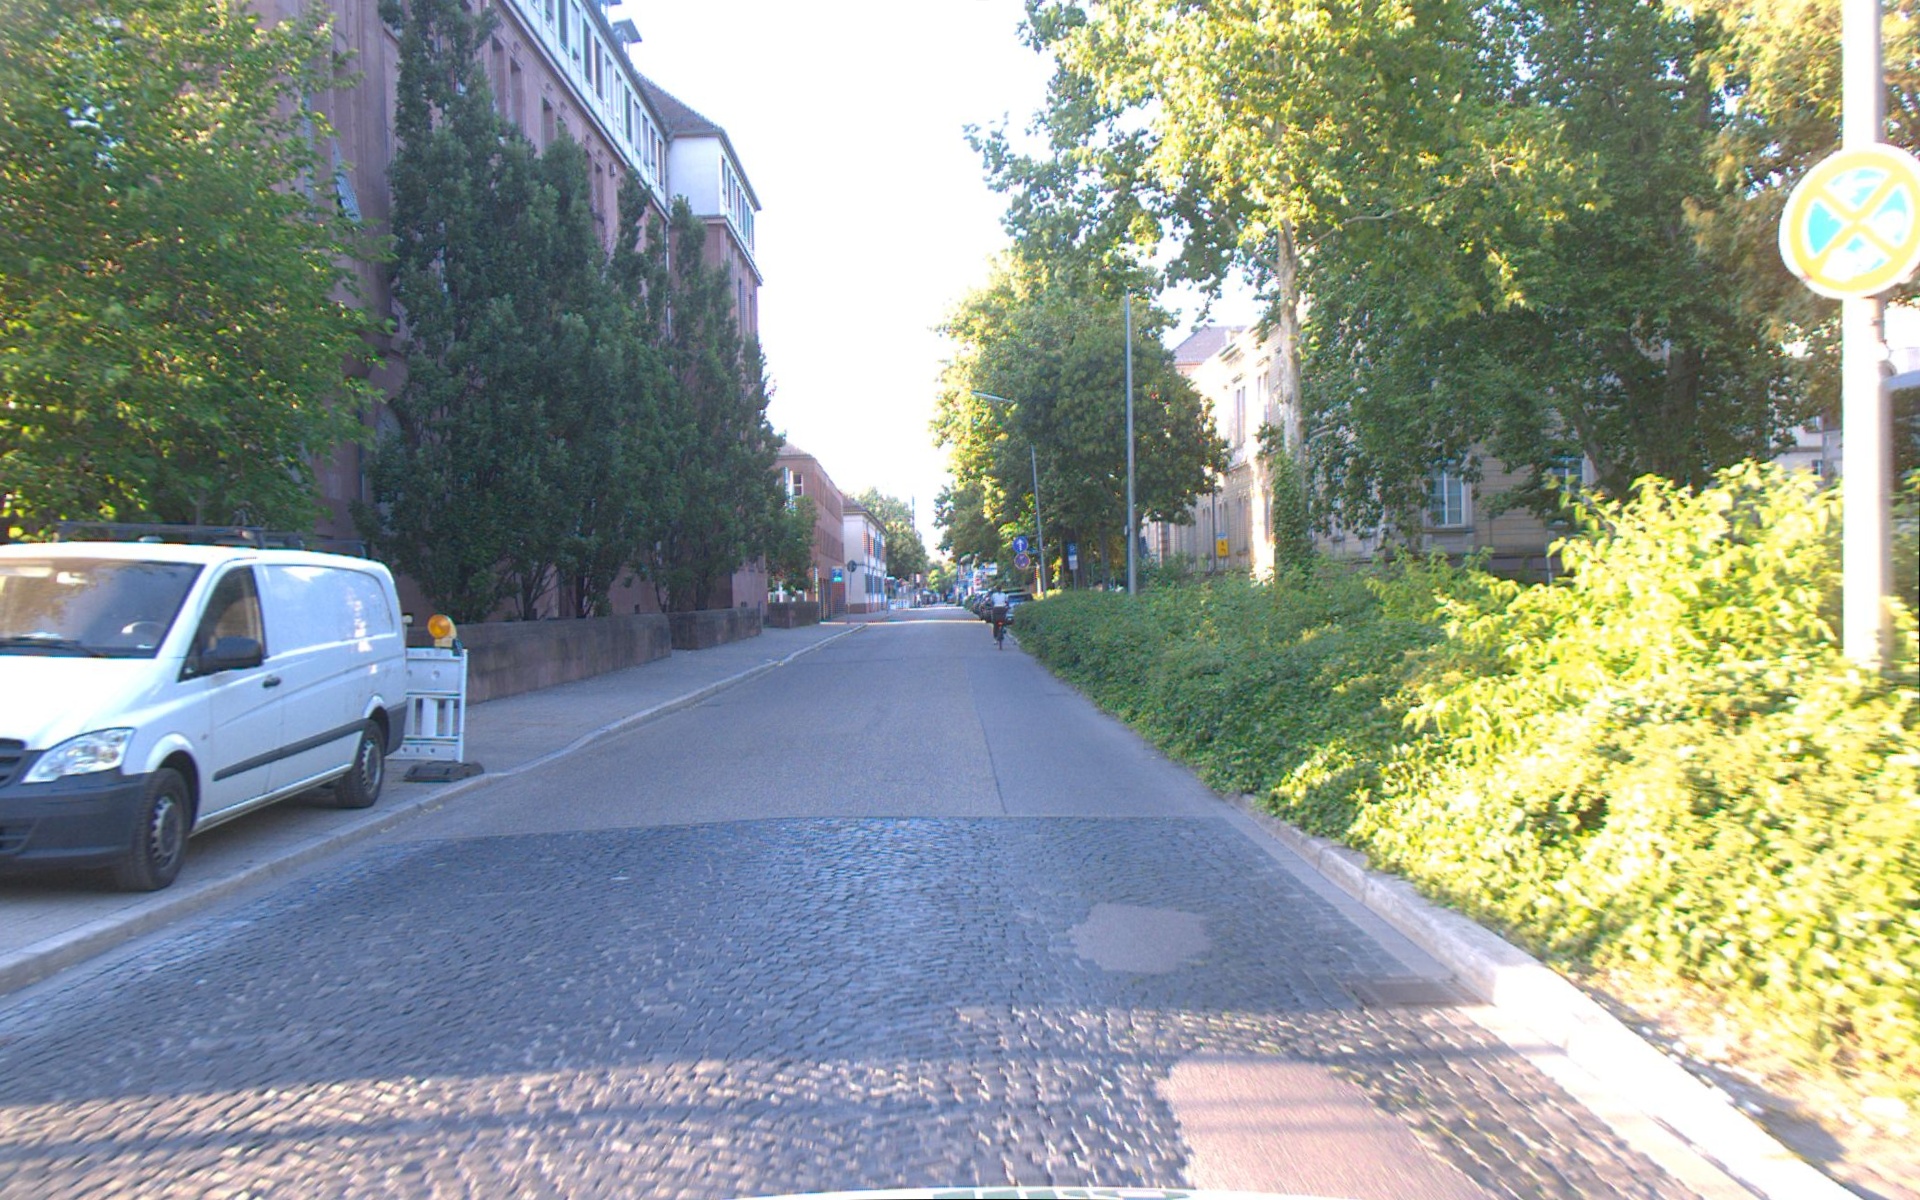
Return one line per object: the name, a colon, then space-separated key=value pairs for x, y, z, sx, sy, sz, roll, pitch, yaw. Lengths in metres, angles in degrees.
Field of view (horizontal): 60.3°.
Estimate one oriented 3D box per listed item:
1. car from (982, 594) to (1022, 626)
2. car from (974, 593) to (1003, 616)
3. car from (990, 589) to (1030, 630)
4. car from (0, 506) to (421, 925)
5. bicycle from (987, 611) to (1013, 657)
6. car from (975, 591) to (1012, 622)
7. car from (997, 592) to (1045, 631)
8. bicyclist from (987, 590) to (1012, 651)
car: x=2.099 y=0.495 z=83.693 sx=1.681 sy=1.564 sz=4.046 roll=-2 pitch=0 yaw=-2
car: x=2.065 y=0.310 z=120.888 sx=1.953 sy=1.612 sz=3.999 roll=-3 pitch=0 yaw=-2
car: x=2.263 y=0.413 z=75.876 sx=1.680 sy=1.742 sz=4.472 roll=-2 pitch=0 yaw=0
car: x=-5.180 y=0.599 z=10.691 sx=1.845 sy=2.049 sz=5.223 roll=0 pitch=-1 yaw=-2
bicycle: x=1.108 y=0.937 z=46.192 sx=0.625 sy=1.214 sz=1.875 roll=0 pitch=0 yaw=-2
car: x=1.994 y=0.379 z=99.708 sx=1.953 sy=1.735 sz=3.999 roll=-3 pitch=0 yaw=-2
car: x=2.556 y=0.487 z=70.124 sx=1.652 sy=1.472 sz=3.670 roll=-4 pitch=-1 yaw=-2
bicyclist: x=1.106 y=0.572 z=46.160 sx=0.626 sy=1.696 sz=0.842 roll=0 pitch=0 yaw=-2
